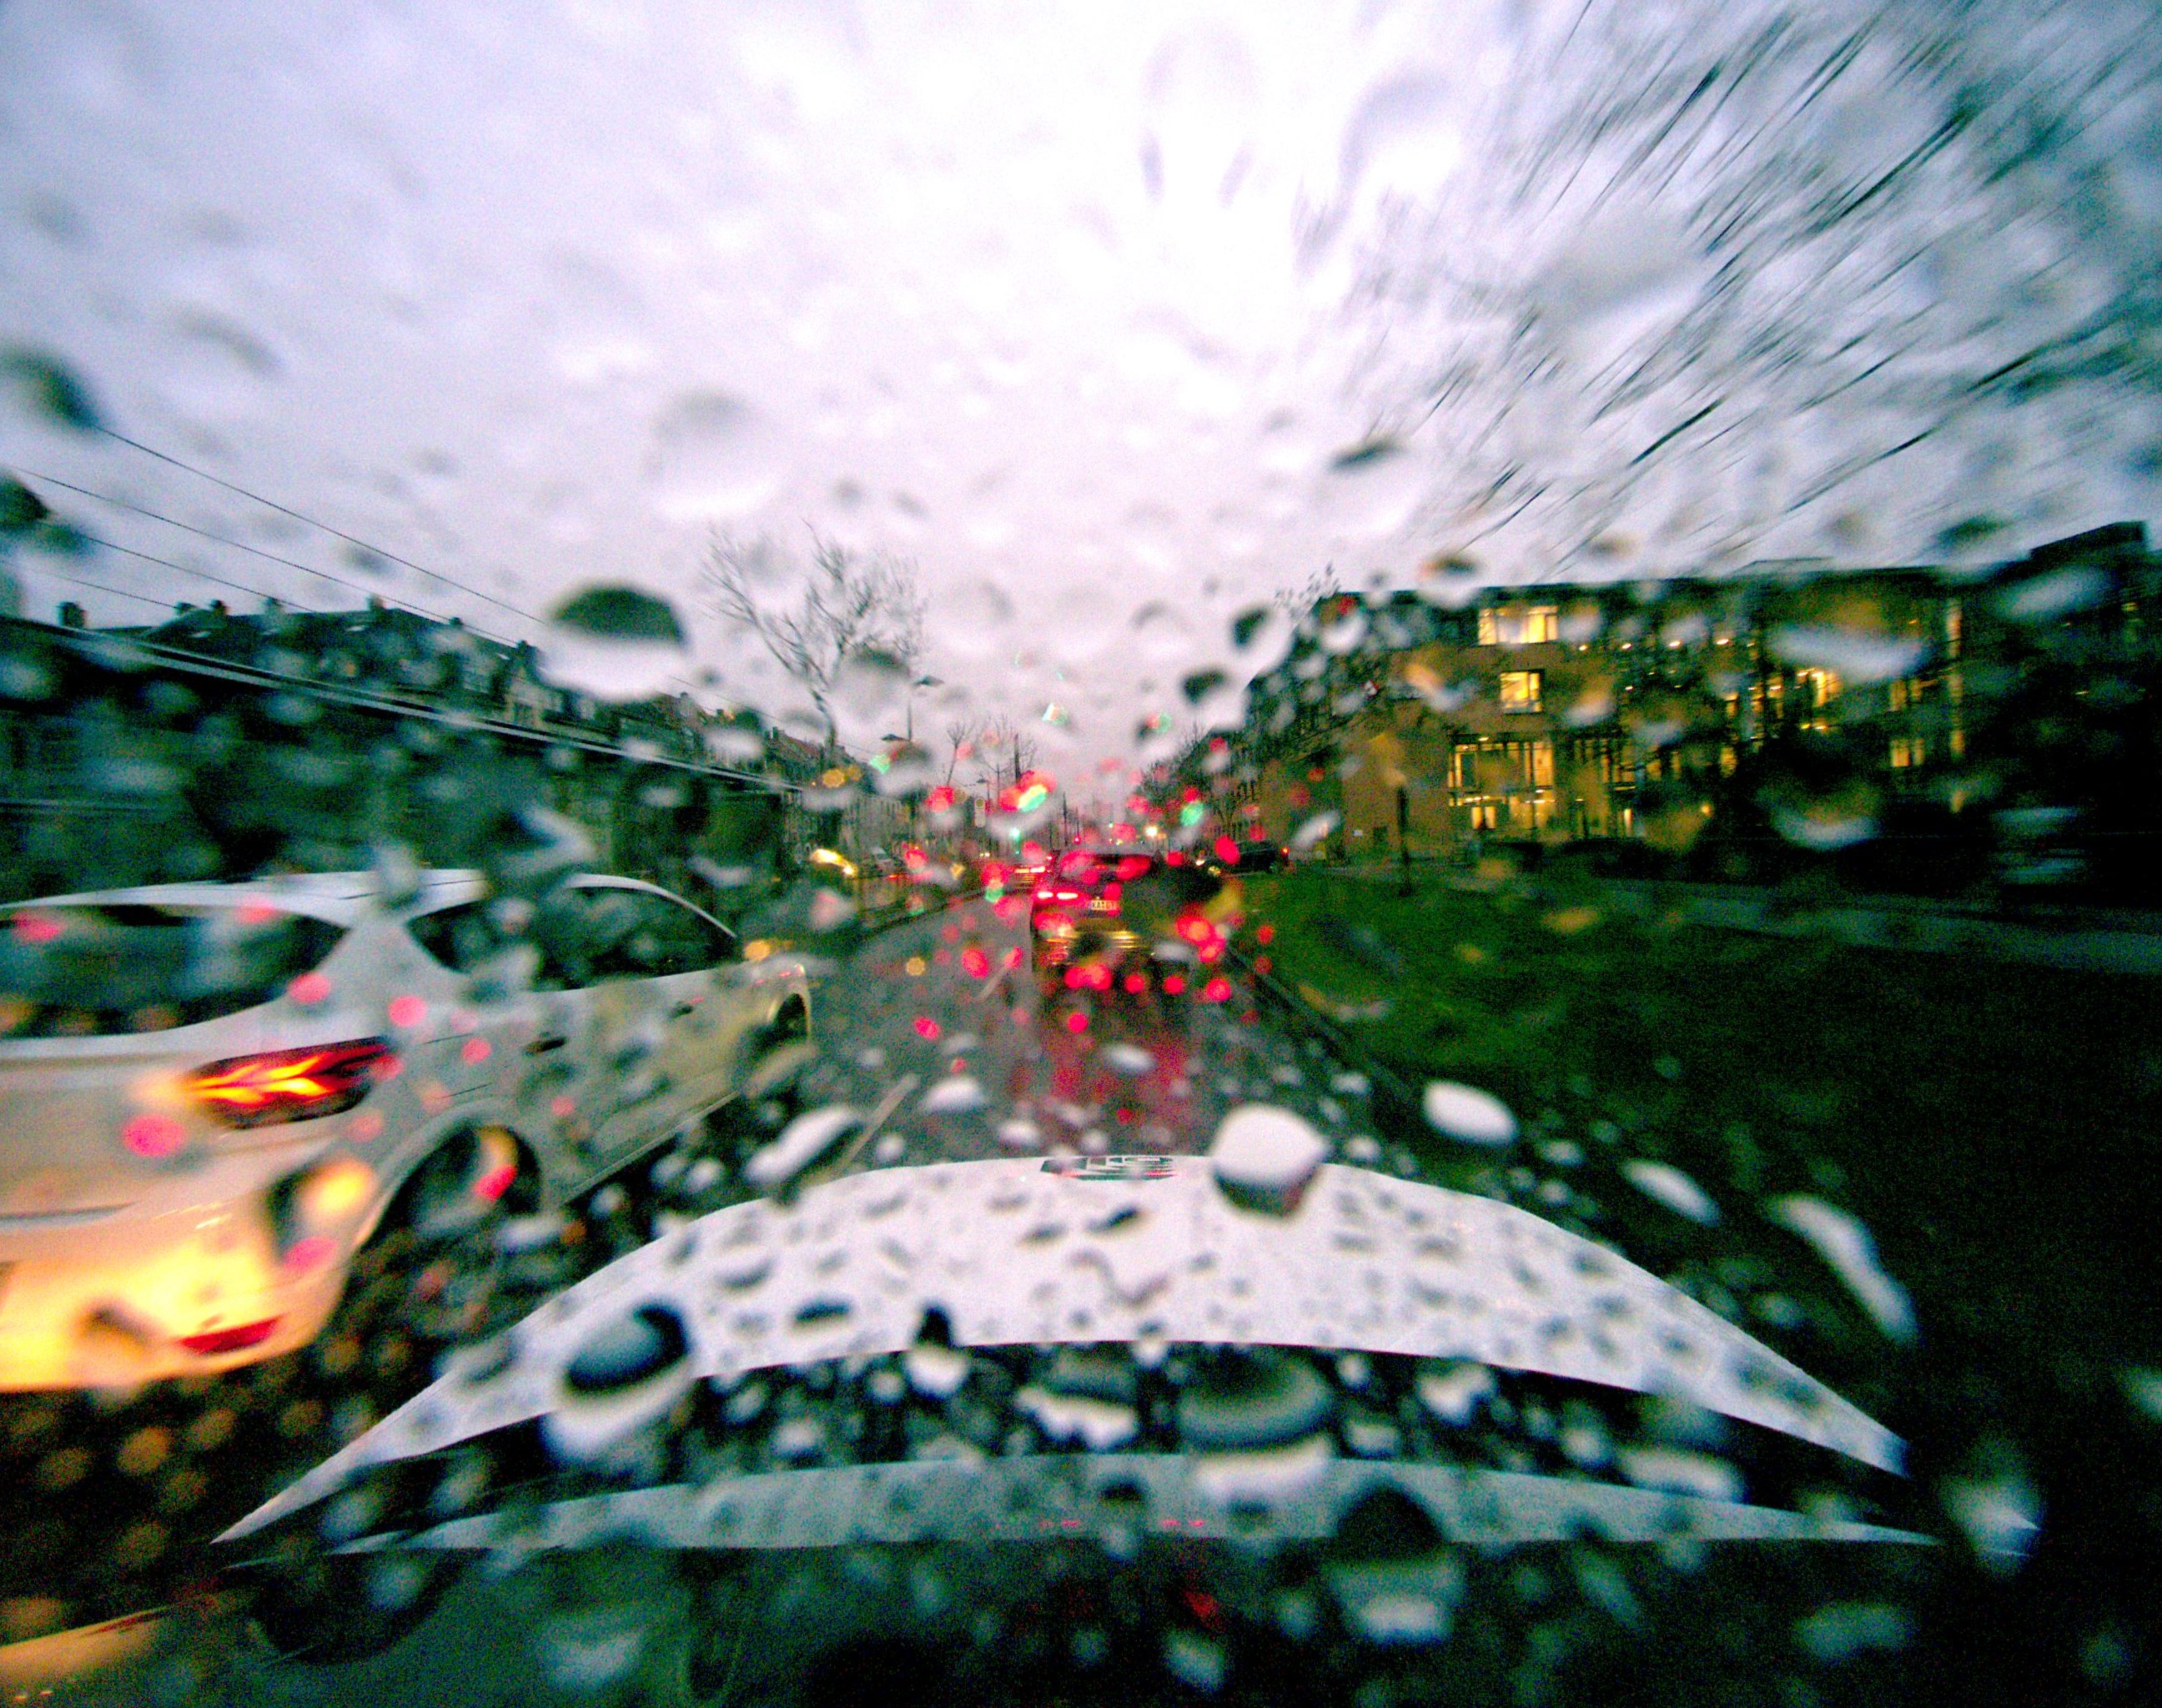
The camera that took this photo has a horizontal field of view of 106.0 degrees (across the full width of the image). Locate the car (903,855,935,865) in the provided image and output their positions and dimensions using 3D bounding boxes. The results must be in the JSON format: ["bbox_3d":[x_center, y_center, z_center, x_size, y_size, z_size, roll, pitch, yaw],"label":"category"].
[{"bbox_3d":[-22.911,0.867,115.149,3.964,1.227,2.005,-3,0,8],"label":"car"}]

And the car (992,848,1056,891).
[{"bbox_3d":[-2.076,0.534,30.606,1.986,1.398,4.001,-3,0,1],"label":"car"}]

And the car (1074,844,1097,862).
[{"bbox_3d":[0.458,-0.113,78.598,1.986,1.618,4.002,-3,0,2],"label":"car"}]

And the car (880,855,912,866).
[{"bbox_3d":[-24.744,0.871,108.941,3.753,1.156,1.653,-3,0,7],"label":"car"}]

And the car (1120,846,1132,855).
[{"bbox_3d":[8.311,-0.704,150.062,1.986,1.598,4.002,-3,0,2],"label":"car"}]

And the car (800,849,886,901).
[{"bbox_3d":[-9.290,0.763,32.151,1.986,1.823,4.002,-3,0,2],"label":"car"}]

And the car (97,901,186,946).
[{"bbox_3d":[-27.367,1.974,23.779,3.374,1.070,1.594,-3,1,41],"label":"car"}]

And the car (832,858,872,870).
[{"bbox_3d":[-24.942,1.081,88.710,3.753,1.156,1.653,-3,0,7],"label":"car"}]

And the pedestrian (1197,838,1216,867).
[{"bbox_3d":[7.145,-0.075,46.349,0.893,1.596,0.505,-3,0,44],"label":"pedestrian"}]

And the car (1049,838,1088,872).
[{"bbox_3d":[-0.679,0.044,47.260,1.986,1.765,4.002,-3,0,2],"label":"car"}]

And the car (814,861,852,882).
[{"bbox_3d":[-19.858,1.382,65.339,1.648,1.398,3.769,-3,0,2],"label":"car"}]

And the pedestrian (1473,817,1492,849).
[{"bbox_3d":[20.815,-1.093,42.208,0.628,1.637,0.738,-3,0,8],"label":"pedestrian"}]

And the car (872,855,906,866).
[{"bbox_3d":[-24.028,0.859,102.106,3.753,1.156,1.653,-3,0,7],"label":"car"}]

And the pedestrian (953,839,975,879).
[{"bbox_3d":[-4.668,0.187,32.455,0.696,1.552,0.669,-3,0,2],"label":"pedestrian"}]

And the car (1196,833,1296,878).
[{"bbox_3d":[6.973,0.054,34.734,3.844,1.560,1.767,-5,0,3],"label":"car"}]

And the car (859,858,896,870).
[{"bbox_3d":[-23.999,1.138,95.973,3.753,1.156,1.653,-3,0,7],"label":"car"}]

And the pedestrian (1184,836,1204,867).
[{"bbox_3d":[6.129,-0.129,44.138,0.893,1.596,0.505,-3,0,44],"label":"pedestrian"}]

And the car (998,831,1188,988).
[{"bbox_3d":[0.227,0.579,10.819,1.983,1.616,4.003,-3,0,3],"label":"car"}]

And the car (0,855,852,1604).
[{"bbox_3d":[-2.588,0.830,3.738,1.619,1.487,4.005,-3,1,4],"label":"car"}]
